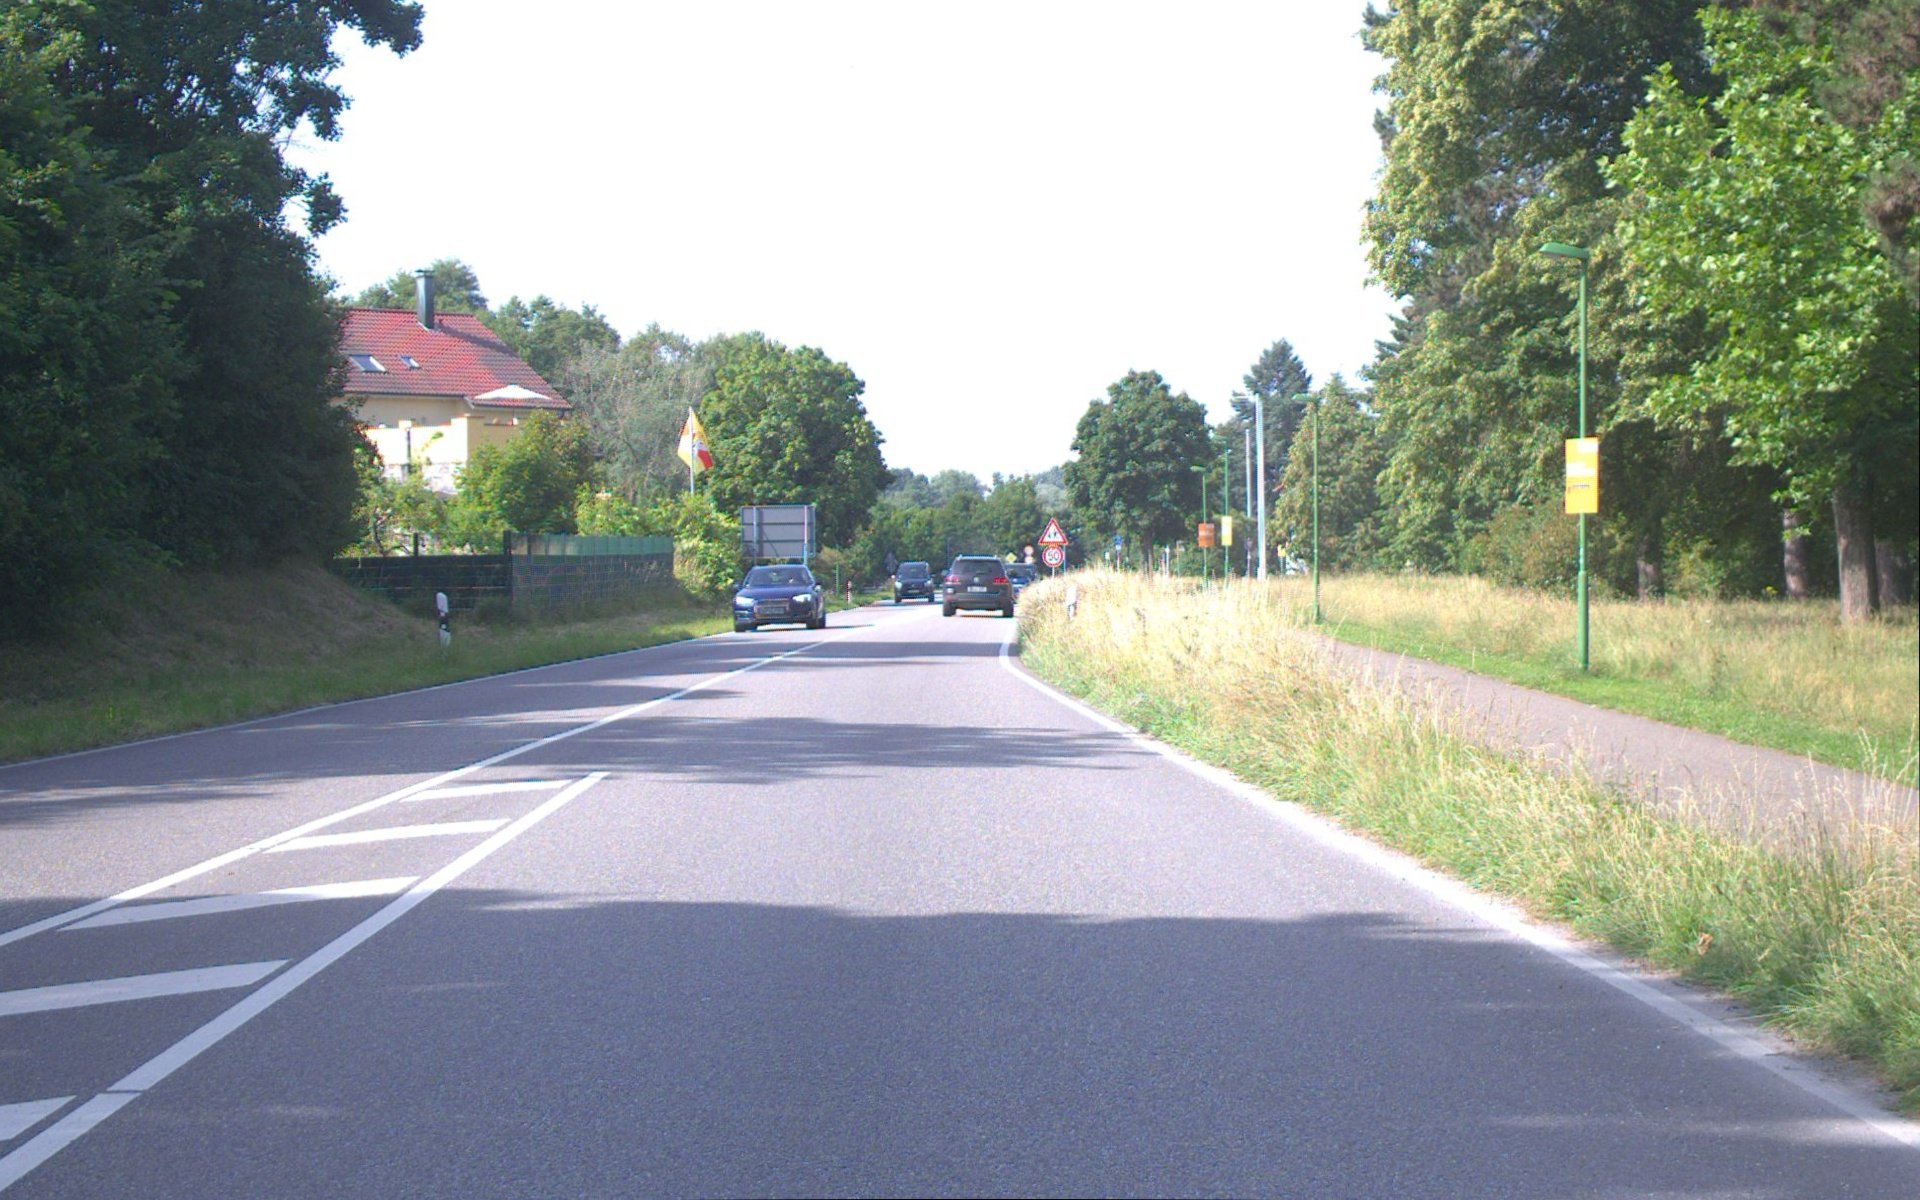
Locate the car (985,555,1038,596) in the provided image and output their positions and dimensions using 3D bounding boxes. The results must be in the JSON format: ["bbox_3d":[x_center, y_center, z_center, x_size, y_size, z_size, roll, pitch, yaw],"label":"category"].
[{"bbox_3d":[1.936,-0.927,130.081,1.735,1.511,3.915,-1,1,-3],"label":"car"}]

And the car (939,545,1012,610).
[{"bbox_3d":[0.410,-0.648,96.341,1.925,1.765,4.000,-1,1,-1],"label":"car"}]

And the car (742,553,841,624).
[{"bbox_3d":[-3.681,-0.273,75.749,1.870,1.418,4.577,-3,1,0],"label":"car"}]

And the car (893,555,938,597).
[{"bbox_3d":[-2.018,-1.074,154.894,1.939,1.811,4.242,-1,1,-1],"label":"car"}]
